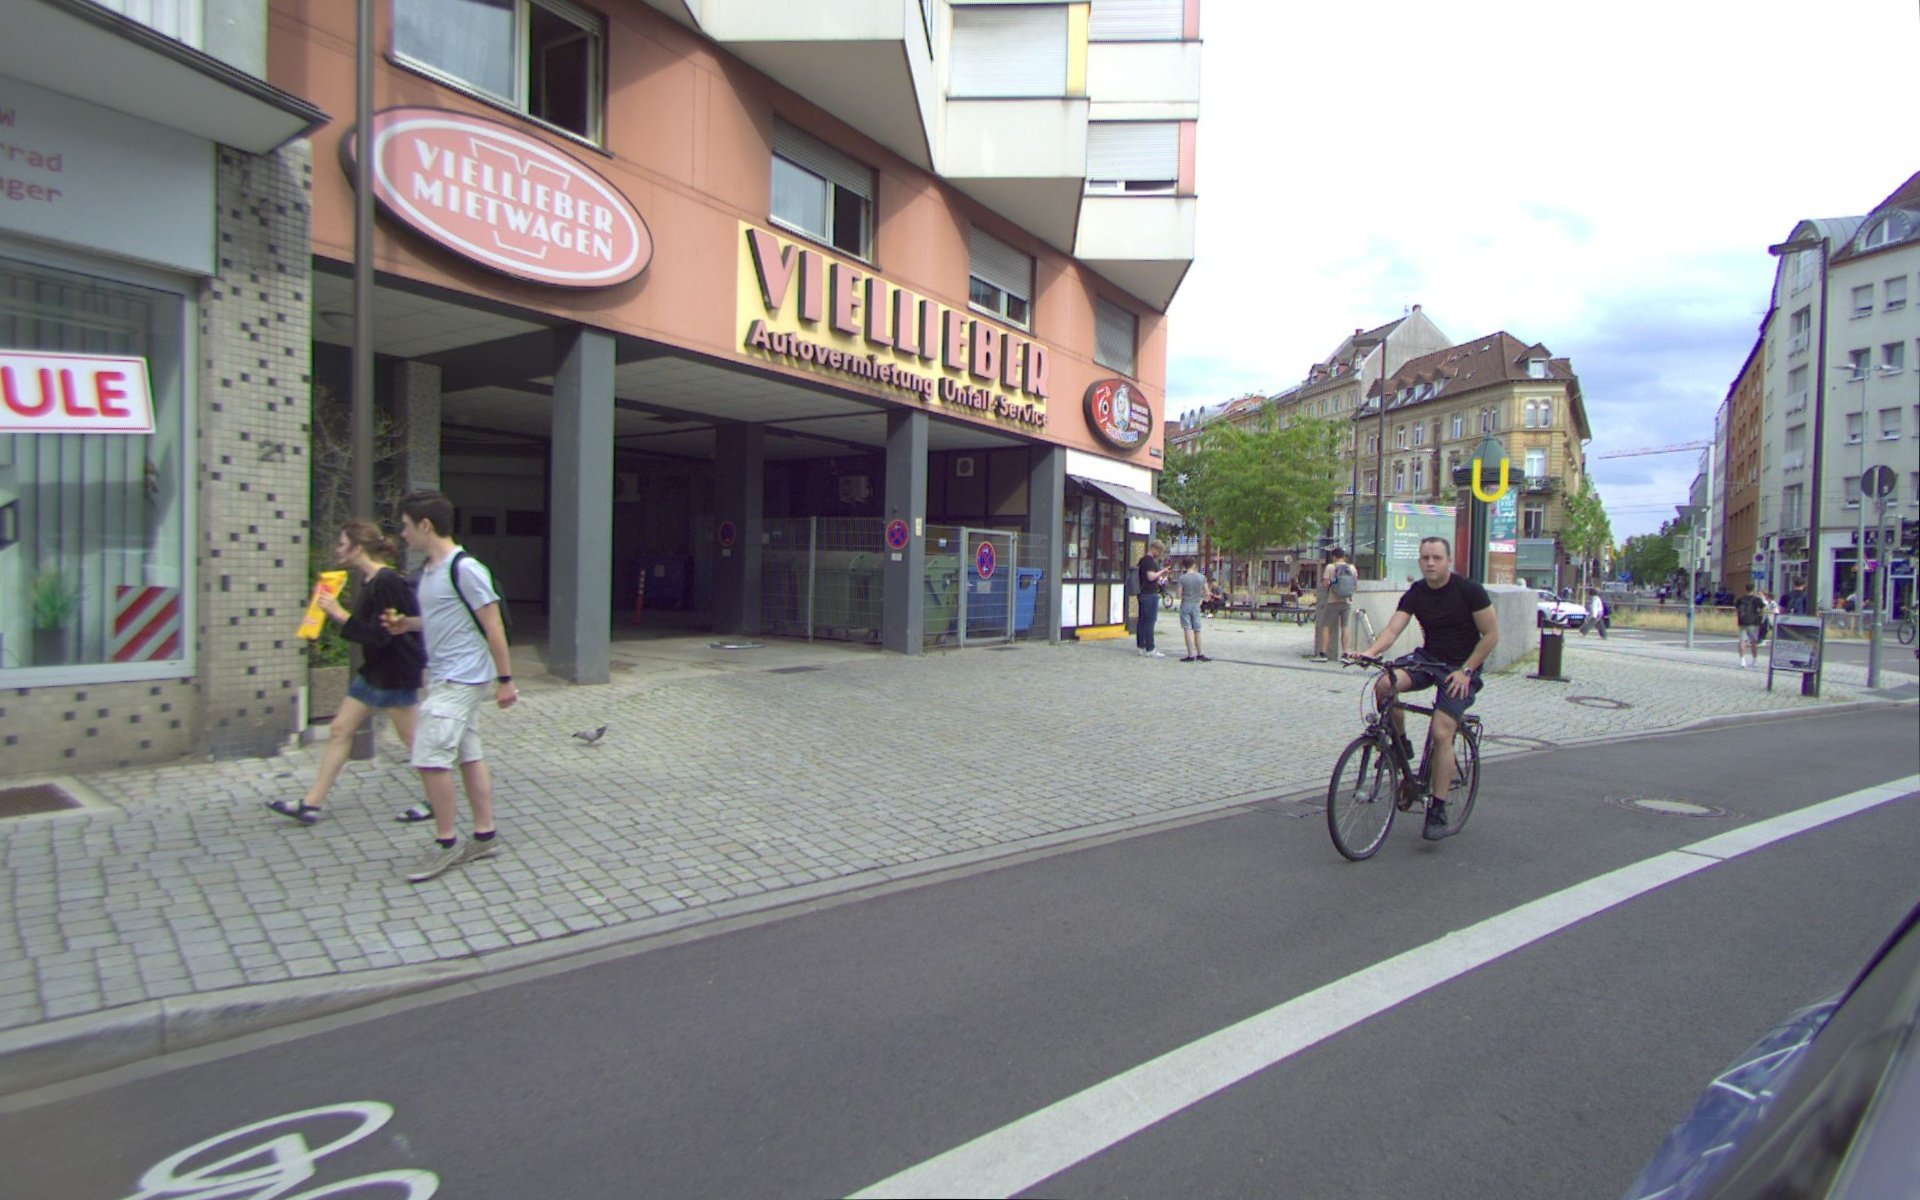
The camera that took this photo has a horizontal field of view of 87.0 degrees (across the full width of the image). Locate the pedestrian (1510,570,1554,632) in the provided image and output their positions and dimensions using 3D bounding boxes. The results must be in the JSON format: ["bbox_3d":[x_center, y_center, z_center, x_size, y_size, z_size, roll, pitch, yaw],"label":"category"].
[{"bbox_3d":[16.627,0.014,29.421,0.673,1.761,0.937,2,2,3],"label":"pedestrian"}]

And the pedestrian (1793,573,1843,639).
[{"bbox_3d":[25.026,0.171,29.540,0.859,1.877,0.642,2,1,-11],"label":"pedestrian"}]

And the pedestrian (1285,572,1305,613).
[{"bbox_3d":[13.812,-0.316,41.739,0.430,1.661,0.680,2,1,-11],"label":"pedestrian"}]

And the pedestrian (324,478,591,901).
[{"bbox_3d":[-2.388,0.355,4.821,0.750,1.771,0.847,7,4,39],"label":"pedestrian"}]

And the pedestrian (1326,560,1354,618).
[{"bbox_3d":[12.677,-0.374,33.749,0.572,1.890,0.550,3,1,-15],"label":"pedestrian"}]

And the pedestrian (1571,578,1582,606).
[{"bbox_3d":[38.423,-0.506,63.095,0.420,1.705,0.511,2,1,22],"label":"pedestrian"}]

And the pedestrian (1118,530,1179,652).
[{"bbox_3d":[3.106,-0.152,16.651,0.670,1.926,0.582,6,3,35],"label":"pedestrian"}]

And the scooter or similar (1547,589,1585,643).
[{"bbox_3d":[14.115,0.364,23.553,1.104,1.227,0.286,1,1,-34],"label":"scooter or similar"}]

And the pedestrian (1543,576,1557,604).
[{"bbox_3d":[36.632,-0.635,62.817,0.504,1.705,0.425,2,1,-10],"label":"pedestrian"}]

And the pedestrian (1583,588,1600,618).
[{"bbox_3d":[36.778,0.148,58.918,0.596,1.706,0.731,-1,0,13],"label":"pedestrian"}]

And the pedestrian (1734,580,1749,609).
[{"bbox_3d":[47.016,-0.335,60.903,0.535,1.744,0.516,2,1,24],"label":"pedestrian"}]

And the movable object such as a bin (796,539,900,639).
[{"bbox_3d":[-1.824,-0.195,16.601,1.189,1.534,1.183,3,2,33],"label":"movable object such as a bin"}]

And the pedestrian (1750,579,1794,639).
[{"bbox_3d":[23.836,0.244,29.716,0.691,1.716,0.636,2,1,-11],"label":"pedestrian"}]

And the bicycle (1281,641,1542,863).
[{"bbox_3d":[2.751,0.830,6.056,1.978,1.136,0.407,1,0,-33],"label":"bicycle"}]

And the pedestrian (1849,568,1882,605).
[{"bbox_3d":[41.012,-0.629,45.856,0.703,1.647,0.794,2,1,-7],"label":"pedestrian"}]

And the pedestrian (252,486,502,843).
[{"bbox_3d":[-3.072,0.290,5.373,0.602,1.688,0.933,6,4,32],"label":"pedestrian"}]

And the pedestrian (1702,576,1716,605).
[{"bbox_3d":[45.677,-0.599,61.749,0.587,1.744,0.514,2,1,31],"label":"pedestrian"}]

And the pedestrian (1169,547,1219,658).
[{"bbox_3d":[3.700,0.034,16.016,0.471,1.693,0.582,6,3,35],"label":"pedestrian"}]

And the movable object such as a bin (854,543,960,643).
[{"bbox_3d":[-0.825,-0.128,15.903,1.141,1.478,1.209,3,2,33],"label":"movable object such as a bin"}]

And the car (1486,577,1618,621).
[{"bbox_3d":[23.258,-0.085,40.012,1.959,1.530,4.613,0,2,-10],"label":"car"}]

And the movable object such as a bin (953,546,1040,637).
[{"bbox_3d":[0.658,-0.165,18.164,1.139,1.534,1.075,3,2,33],"label":"movable object such as a bin"}]

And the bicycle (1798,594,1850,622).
[{"bbox_3d":[41.221,0.366,48.313,0.532,1.219,1.811,2,2,-20],"label":"bicycle"}]

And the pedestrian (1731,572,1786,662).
[{"bbox_3d":[16.951,0.344,21.511,0.671,1.821,0.876,5,3,31],"label":"pedestrian"}]

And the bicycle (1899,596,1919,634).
[{"bbox_3d":[29.736,0.465,30.974,1.792,1.124,0.398,2,1,-10],"label":"bicycle"}]

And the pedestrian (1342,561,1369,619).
[{"bbox_3d":[13.285,-0.341,34.010,0.572,1.890,0.491,3,1,-15],"label":"pedestrian"}]

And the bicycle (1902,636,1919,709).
[{"bbox_3d":[14.355,1.027,14.433,1.711,1.013,0.490,0,1,-14],"label":"bicycle"}]

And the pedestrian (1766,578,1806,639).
[{"bbox_3d":[23.673,0.249,29.013,0.779,1.706,0.471,1,1,-16],"label":"pedestrian"}]

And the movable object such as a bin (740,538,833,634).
[{"bbox_3d":[-2.901,-0.246,17.016,0.998,1.534,1.154,3,2,33],"label":"movable object such as a bin"}]

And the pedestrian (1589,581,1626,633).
[{"bbox_3d":[19.480,0.196,30.462,0.830,1.519,0.554,-1,2,-27],"label":"pedestrian"}]

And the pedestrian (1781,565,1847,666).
[{"bbox_3d":[17.742,0.312,21.056,0.715,1.995,1.004,5,3,29],"label":"pedestrian"}]

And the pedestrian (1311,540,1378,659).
[{"bbox_3d":[6.400,-0.022,16.830,0.655,1.874,0.958,6,4,37],"label":"pedestrian"}]

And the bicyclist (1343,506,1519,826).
[{"bbox_3d":[2.775,0.350,5.957,0.847,1.730,0.560,1,1,-38],"label":"bicyclist"}]

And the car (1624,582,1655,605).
[{"bbox_3d":[48.422,-0.485,72.200,1.683,1.606,3.618,2,2,32],"label":"car"}]
